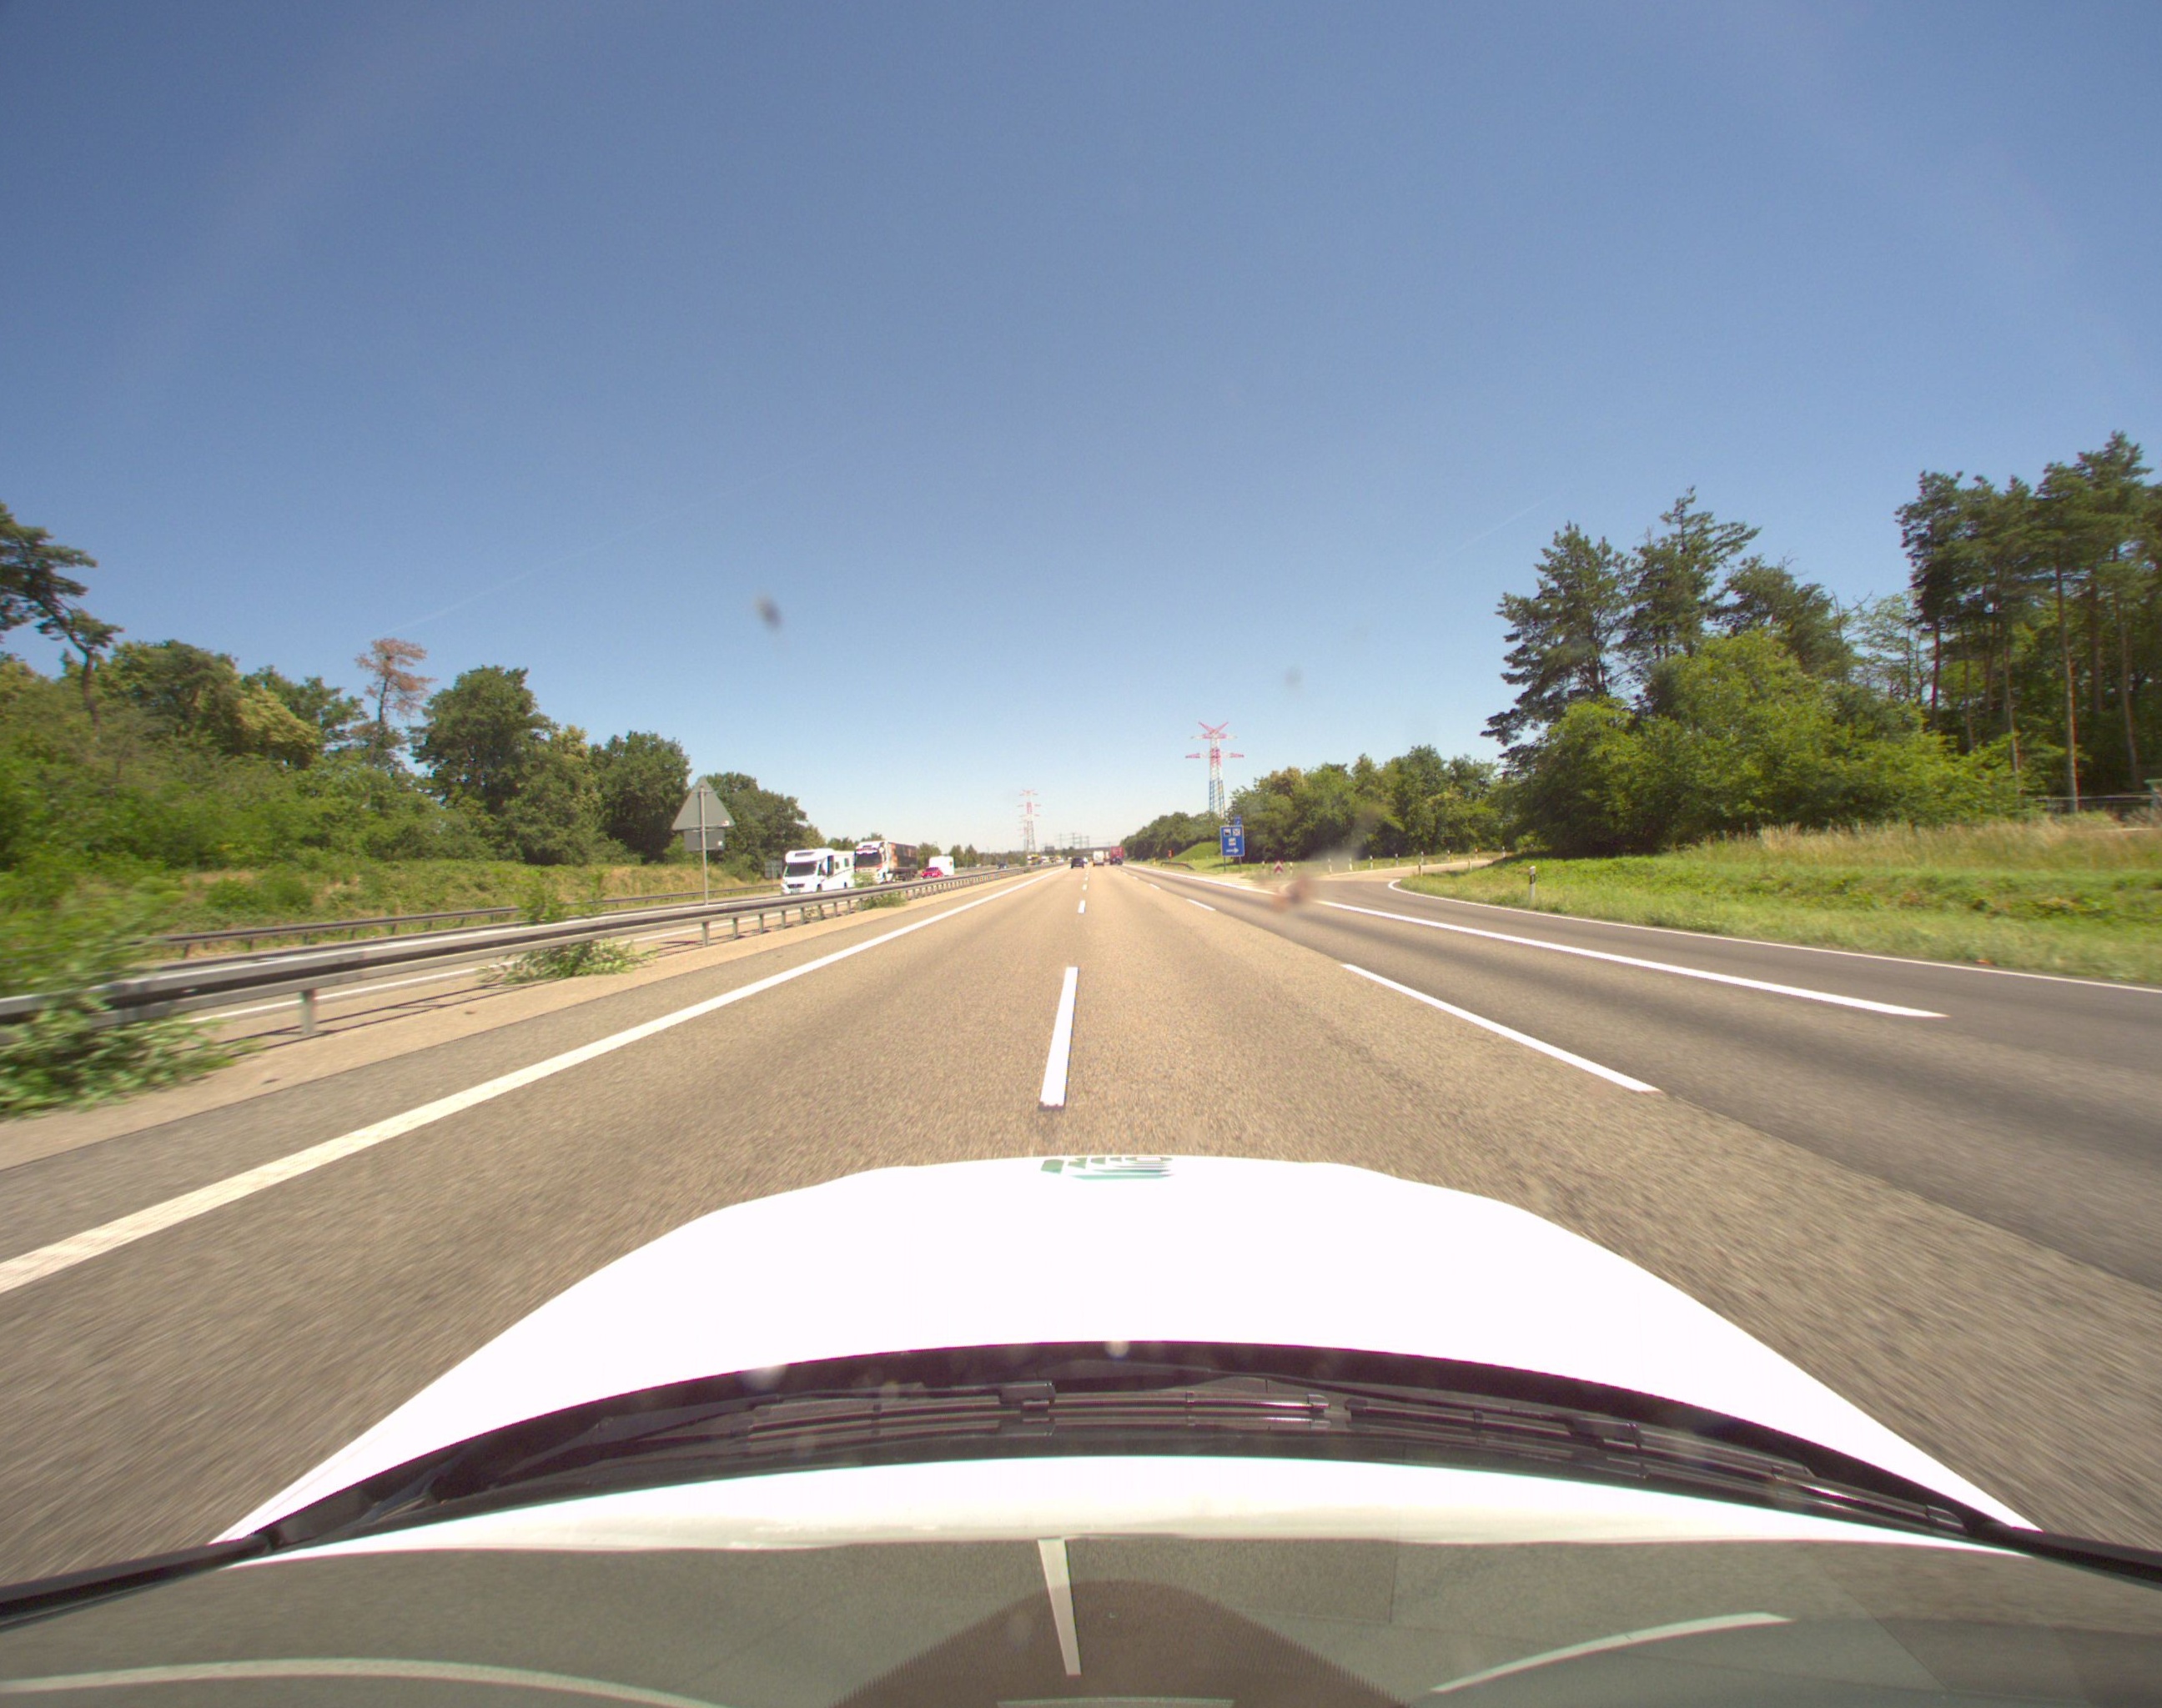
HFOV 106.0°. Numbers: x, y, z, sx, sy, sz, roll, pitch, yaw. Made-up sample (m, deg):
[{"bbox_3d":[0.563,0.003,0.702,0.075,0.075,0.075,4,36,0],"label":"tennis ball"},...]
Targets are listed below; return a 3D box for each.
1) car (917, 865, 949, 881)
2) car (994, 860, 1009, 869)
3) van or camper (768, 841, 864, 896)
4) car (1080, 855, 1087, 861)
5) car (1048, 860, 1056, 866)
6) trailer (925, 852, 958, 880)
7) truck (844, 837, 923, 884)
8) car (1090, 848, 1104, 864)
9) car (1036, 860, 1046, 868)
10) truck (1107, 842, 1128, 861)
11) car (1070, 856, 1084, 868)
[{"bbox_3d":[-14.901,1.914,82.109,2.220,1.380,4.692,-4,0,0],"label":"car"},{"bbox_3d":[-14.650,1.990,150.348,2.220,1.380,4.890,-4,0,0],"label":"car"},{"bbox_3d":[-15.446,0.795,48.182,2.492,2.810,8.565,-2,0,2],"label":"van or camper"},{"bbox_3d":[0.758,0.969,215.850,1.741,1.634,4.004,-1,0,1],"label":"car"},{"bbox_3d":[-9.005,2.797,254.575,2.045,1.551,4.890,-4,0,0],"label":"car"},{"bbox_3d":[-14.886,1.218,87.006,2.469,2.747,5.074,-4,0,0],"label":"trailer"},{"bbox_3d":[-19.266,0.608,81.200,3.314,3.996,16.869,-2,0,1],"label":"truck"},{"bbox_3d":[2.902,0.318,149.988,2.612,2.759,6.096,-1,0,1],"label":"car"},{"bbox_3d":[-9.509,2.377,195.342,2.045,1.551,4.890,-4,0,0],"label":"car"},{"bbox_3d":[7.999,-0.616,181.298,4.316,3.941,16.081,-1,0,1],"label":"truck"},{"bbox_3d":[-0.589,1.204,124.728,1.987,1.750,4.000,-1,0,0],"label":"car"}]
